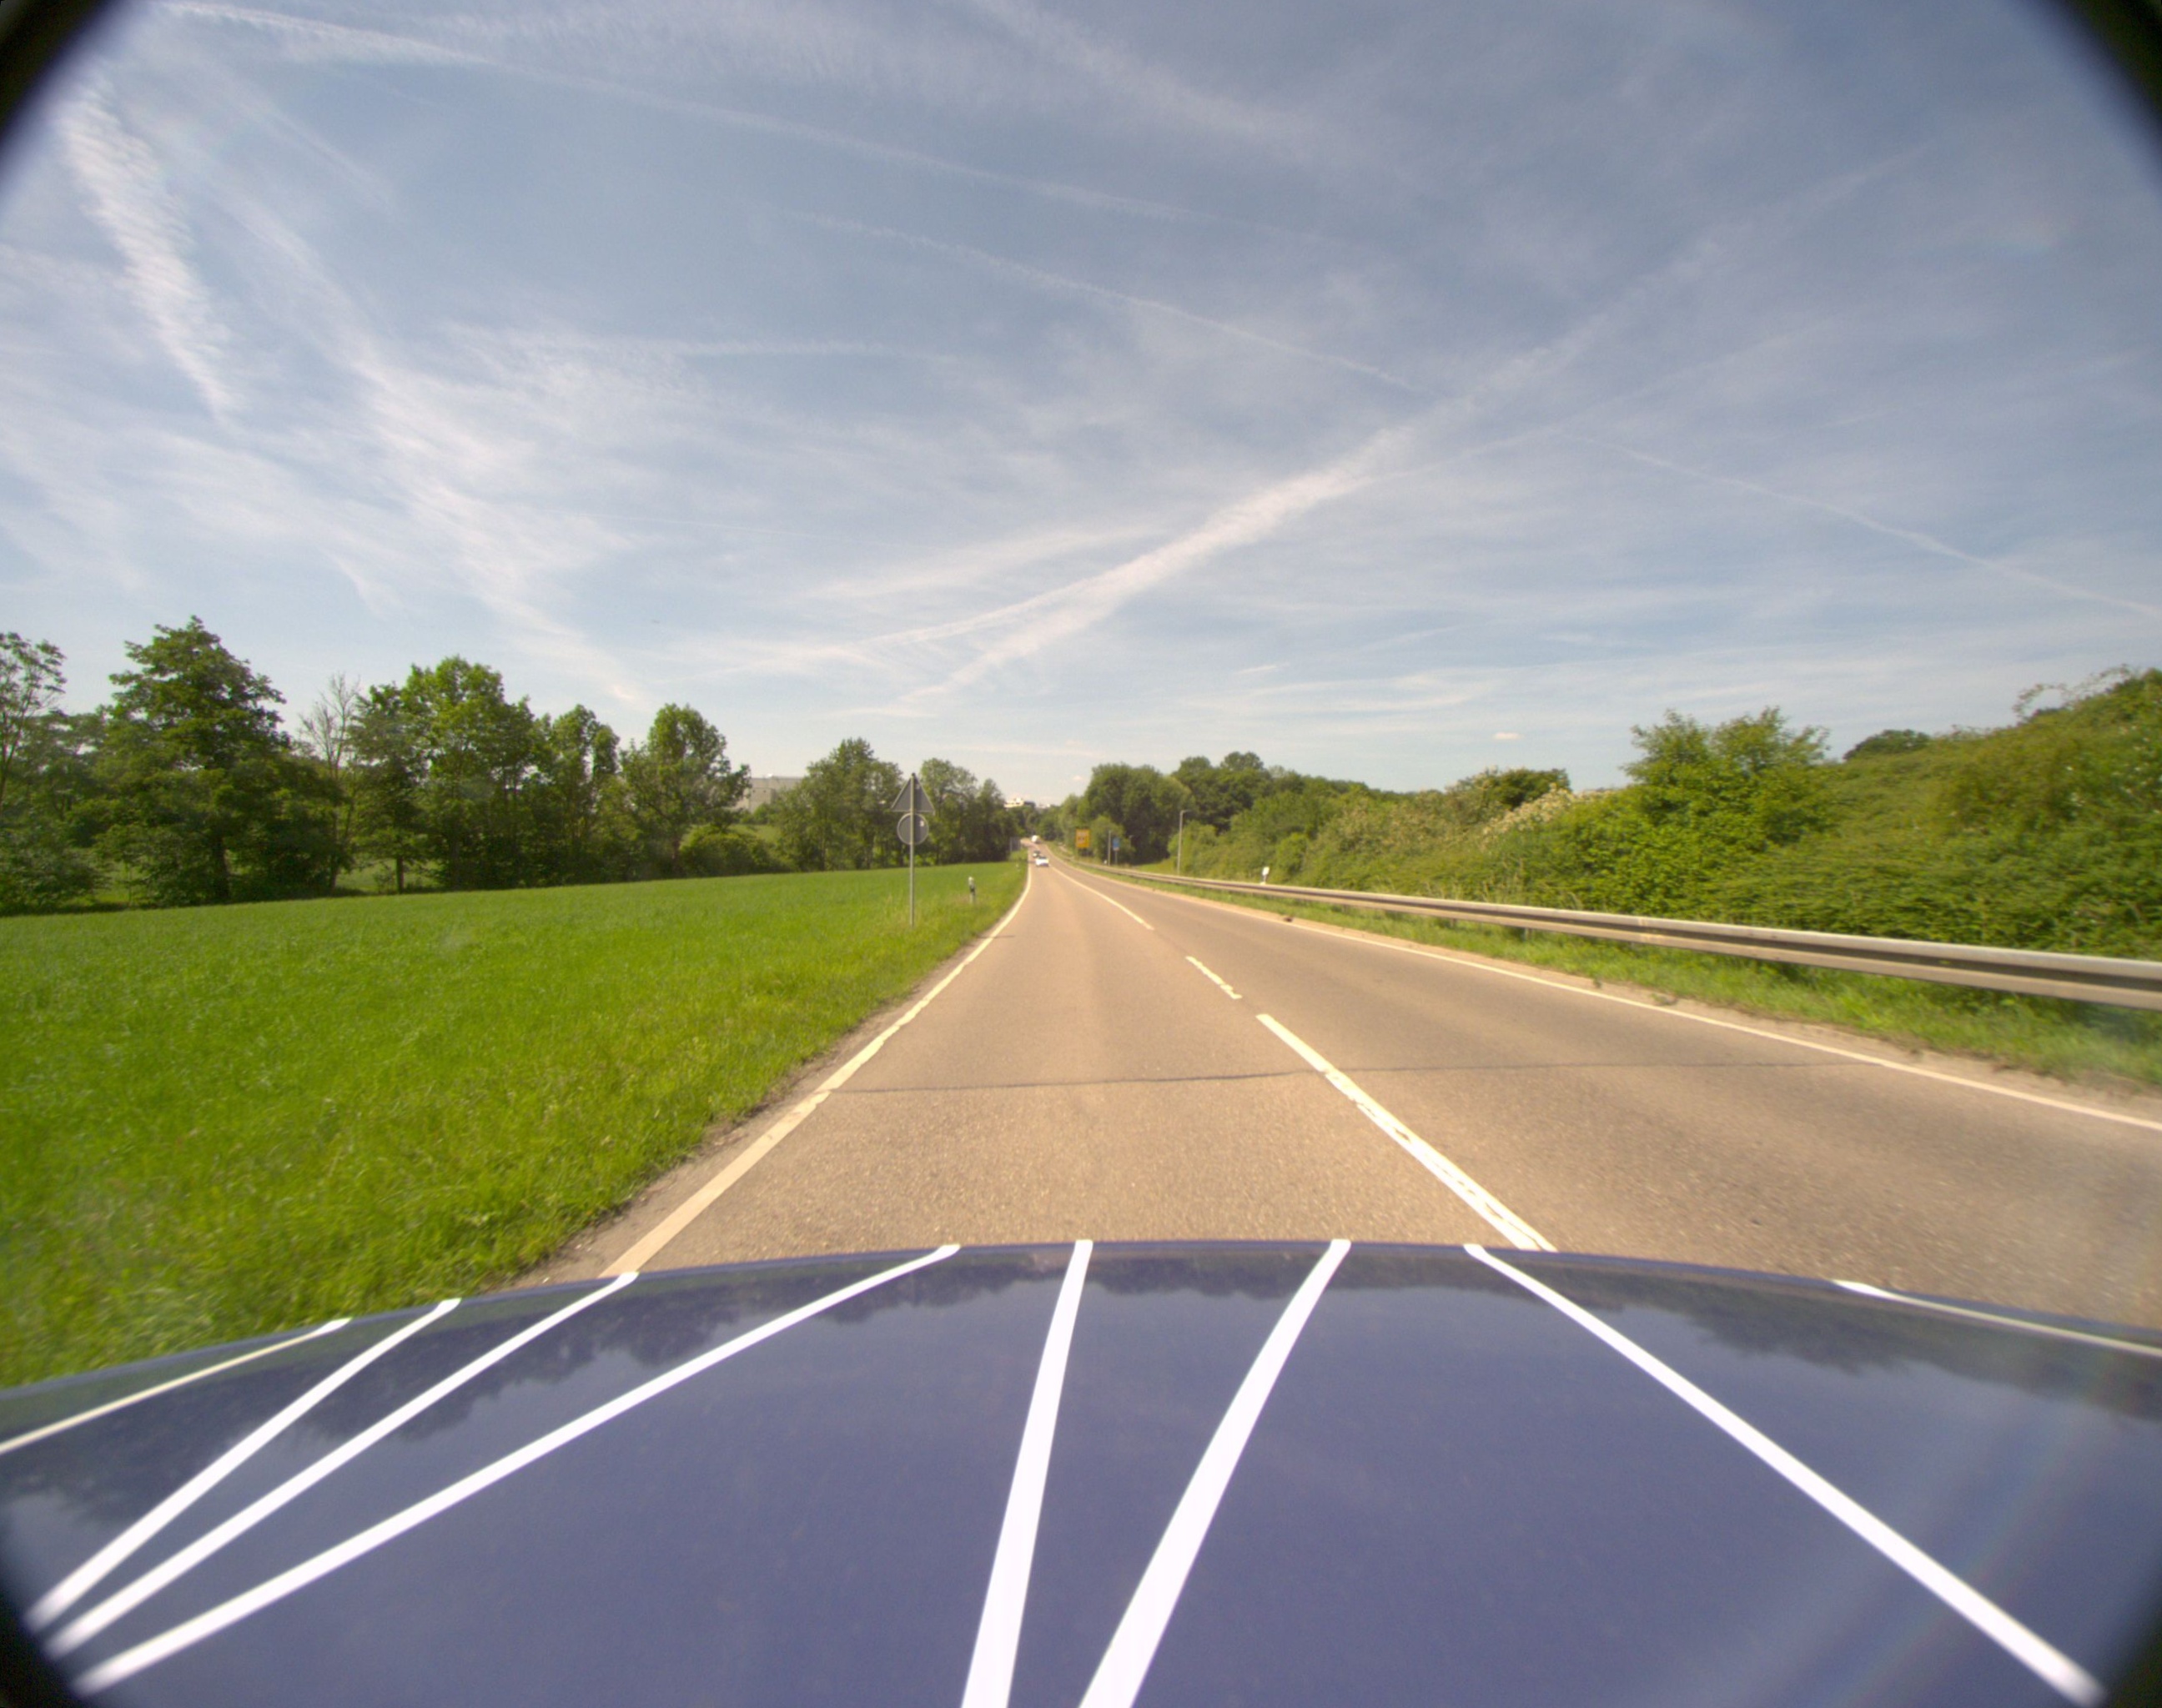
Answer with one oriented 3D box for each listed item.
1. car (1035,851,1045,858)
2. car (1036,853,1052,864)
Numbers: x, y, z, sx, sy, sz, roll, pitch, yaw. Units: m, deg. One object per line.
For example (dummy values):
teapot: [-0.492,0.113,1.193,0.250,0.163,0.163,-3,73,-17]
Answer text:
car: [-9.029,0.073,167.763,1.999,1.575,3.998,-1,0,-5]
car: [-5.324,0.661,109.719,1.998,1.575,4.000,-1,0,0]
